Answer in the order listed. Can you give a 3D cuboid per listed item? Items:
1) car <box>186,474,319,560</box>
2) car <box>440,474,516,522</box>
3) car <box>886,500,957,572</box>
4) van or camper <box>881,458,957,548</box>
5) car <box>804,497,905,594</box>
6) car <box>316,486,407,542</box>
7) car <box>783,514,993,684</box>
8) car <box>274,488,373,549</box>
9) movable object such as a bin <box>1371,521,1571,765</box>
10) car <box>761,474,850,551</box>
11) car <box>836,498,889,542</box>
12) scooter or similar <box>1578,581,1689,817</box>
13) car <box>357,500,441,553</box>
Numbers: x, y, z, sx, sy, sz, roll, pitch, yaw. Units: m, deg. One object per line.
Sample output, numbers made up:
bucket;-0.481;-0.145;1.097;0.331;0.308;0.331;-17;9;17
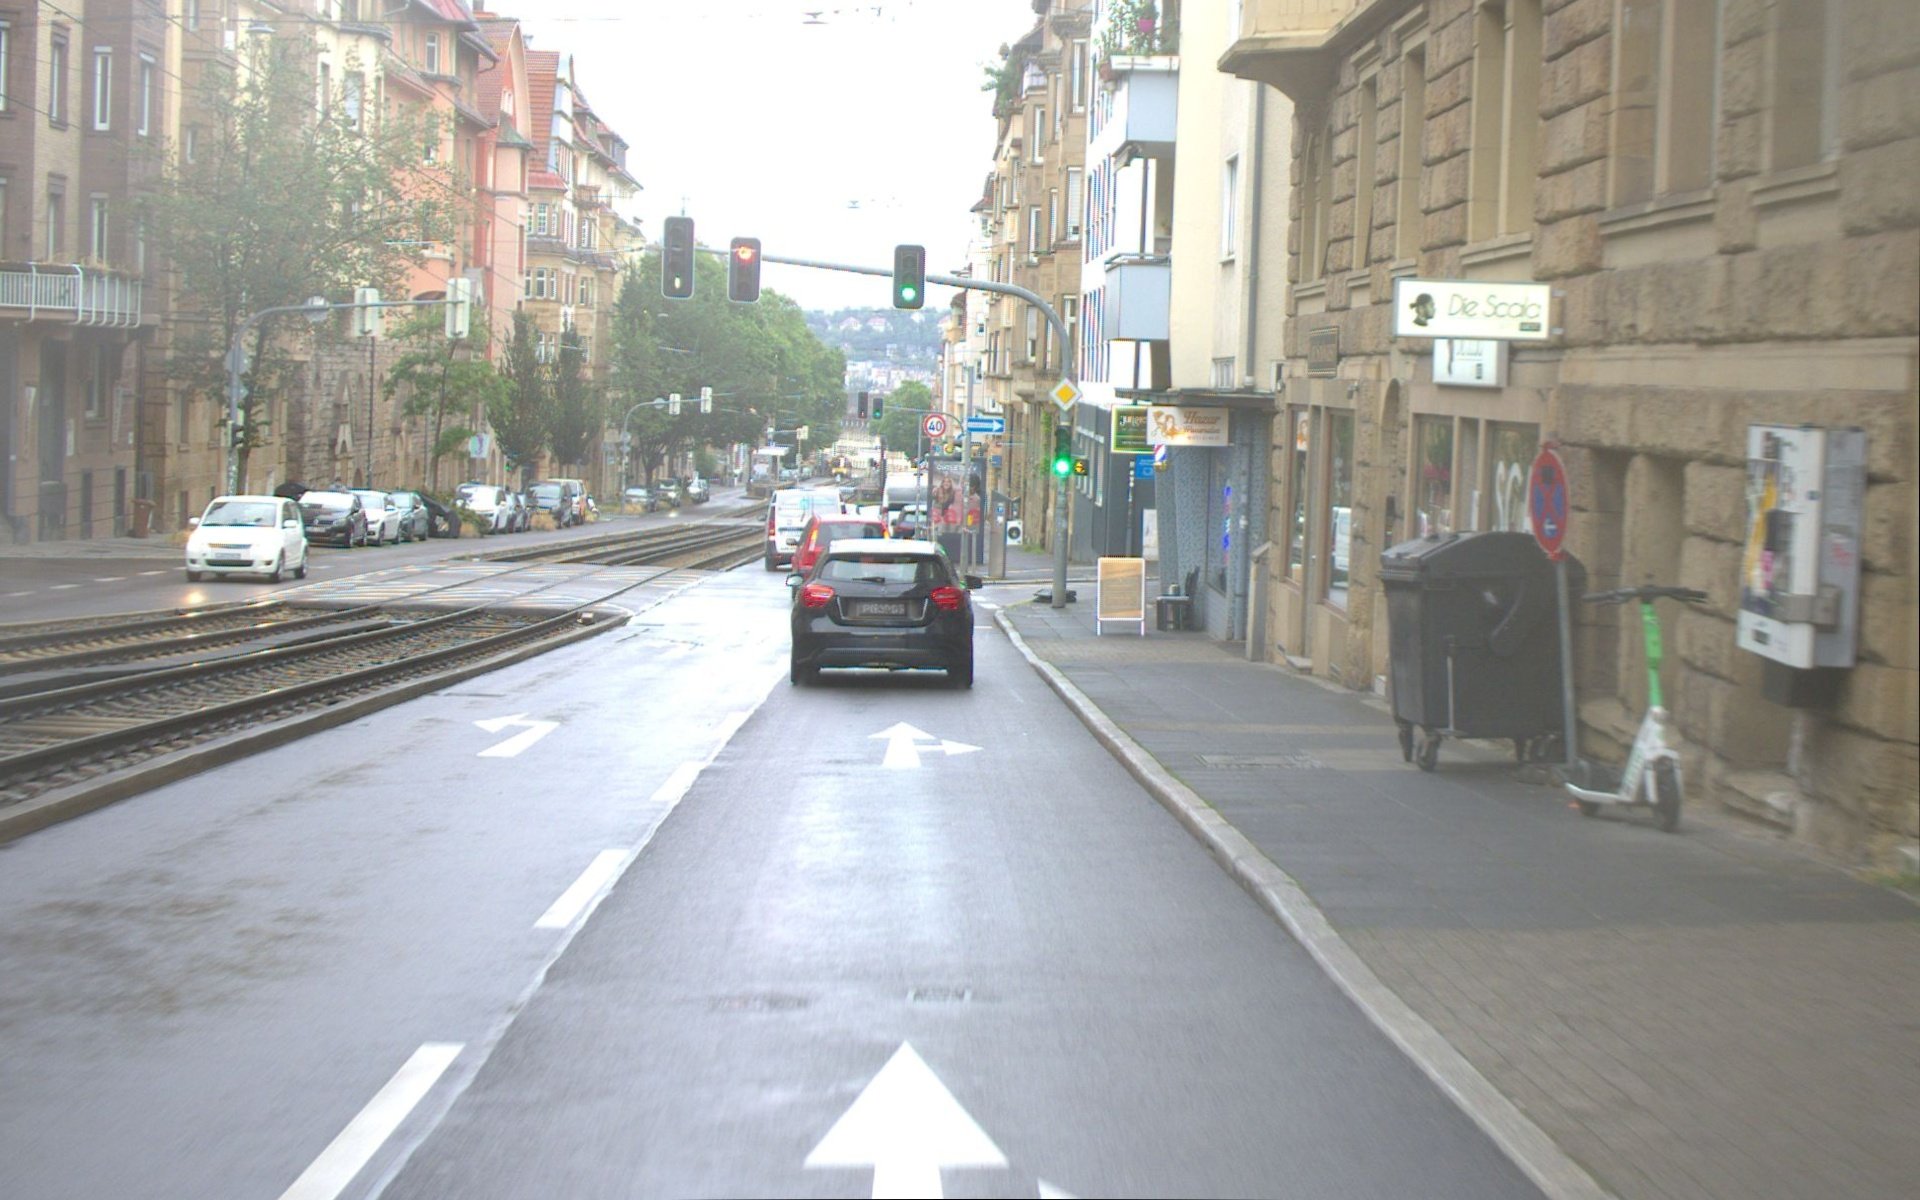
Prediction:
car;-12.798;-1.500;62.356;1.627;1.477;3.581;2;1;0
car;-16.581;-3.495;118.423;1.785;1.584;4.351;1;1;3
car;-1.024;-1.724;91.459;1.768;1.801;4.483;3;2;-1
van or camper;-1.175;-2.796;99.957;2.064;2.460;6.119;2;1;-1
car;-1.757;-0.930;58.153;1.536;1.505;4.000;3;1;-1
car;-16.280;-2.340;93.675;1.667;1.421;4.263;2;2;1
car;-0.742;-0.044;34.356;1.946;1.559;3.643;2;1;-2
car;-16.349;-2.079;88.453;1.765;1.481;4.000;2;1;0
movable object such as a bin;3.126;0.242;21.167;1.009;1.446;1.393;0;1;-1
car;-3.548;-2.002;78.967;1.921;1.649;4.001;3;1;-3
car;-3.671;-2.991;129.371;1.902;1.588;4.000;1;1;-1
scooter or similar;3.243;0.467;16.579;0.209;1.108;0.892;0;0;-11
car;-16.097;-2.116;98.753;1.561;1.433;4.146;1;1;2
